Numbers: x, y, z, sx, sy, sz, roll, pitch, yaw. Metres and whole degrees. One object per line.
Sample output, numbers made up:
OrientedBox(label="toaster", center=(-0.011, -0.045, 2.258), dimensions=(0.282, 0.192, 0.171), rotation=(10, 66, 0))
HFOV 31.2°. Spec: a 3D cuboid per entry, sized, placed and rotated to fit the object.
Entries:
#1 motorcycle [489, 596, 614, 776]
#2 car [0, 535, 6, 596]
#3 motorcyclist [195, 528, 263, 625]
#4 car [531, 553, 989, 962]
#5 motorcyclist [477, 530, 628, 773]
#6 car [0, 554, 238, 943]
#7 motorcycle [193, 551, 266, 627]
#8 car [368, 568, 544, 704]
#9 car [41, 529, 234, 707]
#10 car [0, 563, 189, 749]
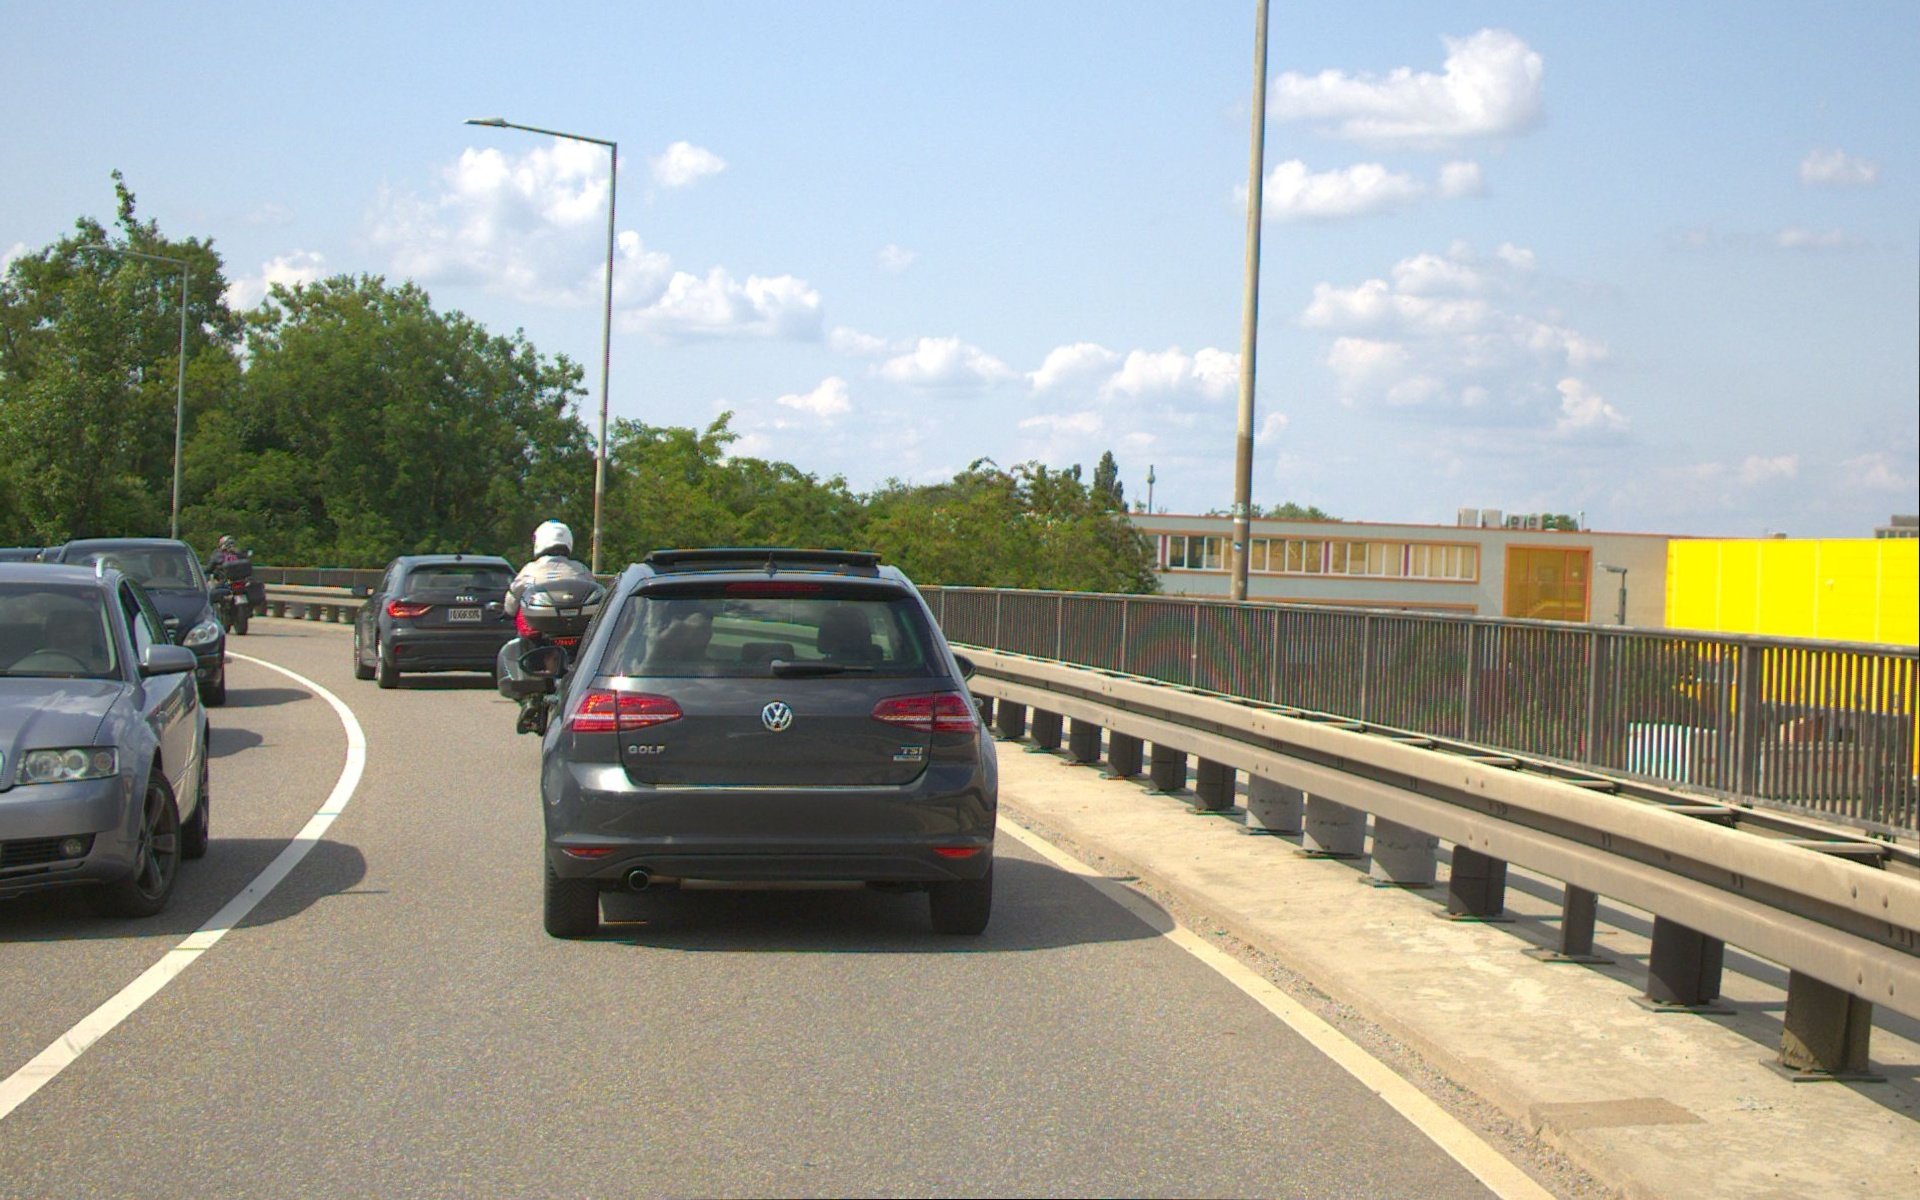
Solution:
OrientedBox(label="motorcycle", center=(-2.787, 0.561, 23.662), dimensions=(0.789, 1.128, 2.400), rotation=(1, 1, -6))
OrientedBox(label="car", center=(-24.817, -0.854, 84.389), dimensions=(1.814, 1.482, 4.001), rotation=(-1, 2, -29))
OrientedBox(label="motorcyclist", center=(-12.304, -0.401, 57.877), dimensions=(0.965, 1.590, 1.125), rotation=(1, 1, -19))
OrientedBox(label="car", center=(-0.912, 0.560, 14.392), dimensions=(1.642, 1.474, 3.873), rotation=(1, 0, -6))
OrientedBox(label="motorcyclist", center=(-2.781, 0.337, 23.577), dimensions=(0.966, 1.615, 1.125), rotation=(1, 1, -5))
OrientedBox(label="car", center=(-4.275, 0.549, 15.027), dimensions=(1.766, 1.455, 4.299), rotation=(-1, 1, -6))
OrientedBox(label="motorcycle", center=(-12.292, -0.196, 57.813), dimensions=(0.887, 1.243, 2.400), rotation=(0, 1, -20))
OrientedBox(label="car", center=(-5.449, 0.376, 36.847), dimensions=(1.681, 1.383, 3.740), rotation=(0, 0, -11))
OrientedBox(label="car", center=(-7.956, 0.120, 33.416), dimensions=(1.683, 1.591, 4.284), rotation=(-1, 1, -13))
OrientedBox(label="car", center=(-7.076, 0.402, 27.379), dimensions=(1.631, 1.340, 4.254), rotation=(-1, 1, -10))
